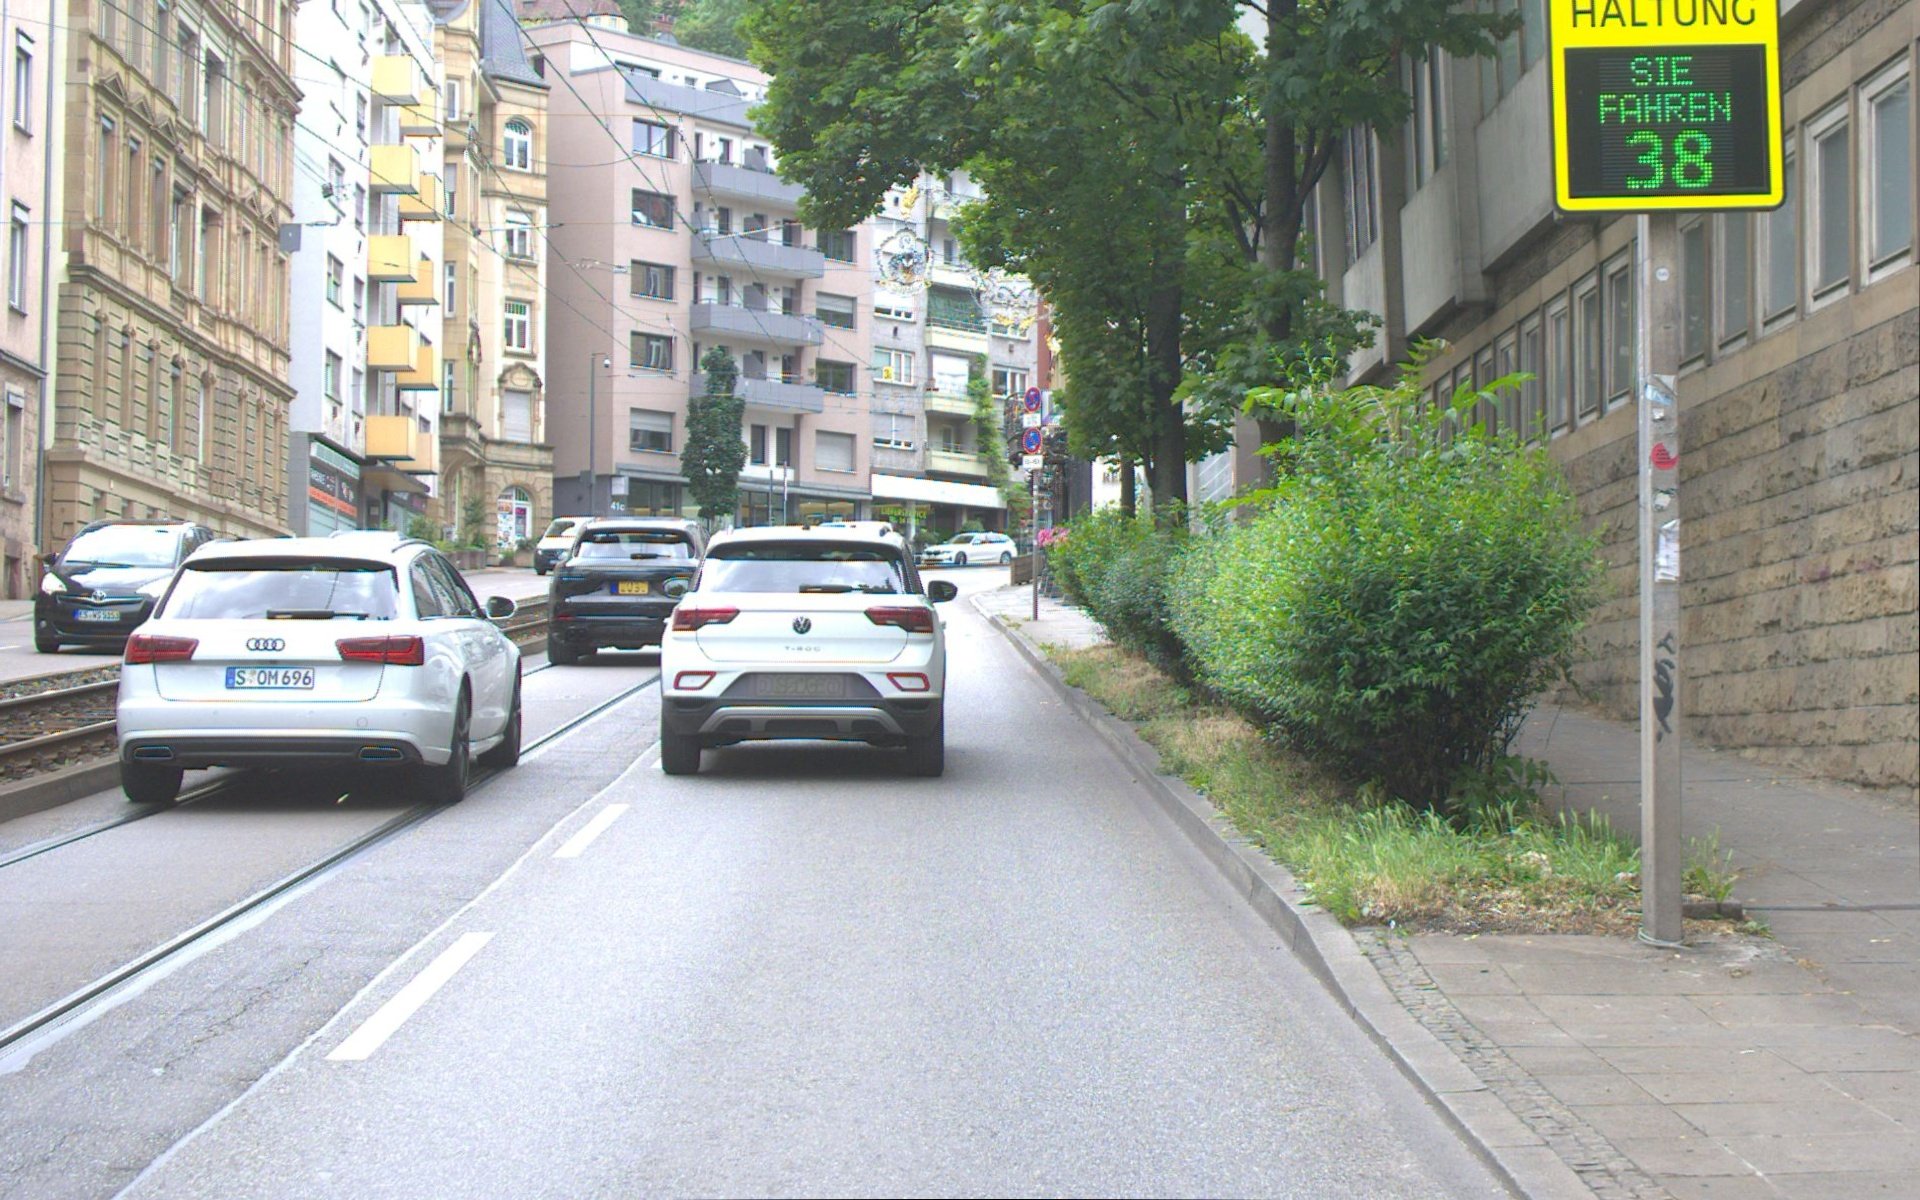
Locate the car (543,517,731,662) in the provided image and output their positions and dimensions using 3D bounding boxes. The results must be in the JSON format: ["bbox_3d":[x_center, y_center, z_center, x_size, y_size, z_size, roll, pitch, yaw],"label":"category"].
[{"bbox_3d":[-3.667,-0.165,39.599,2.037,1.566,4.359,0,1,-4],"label":"car"}]

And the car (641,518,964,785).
[{"bbox_3d":[-1.048,0.258,22.168,1.878,1.549,4.001,1,1,-4],"label":"car"}]
